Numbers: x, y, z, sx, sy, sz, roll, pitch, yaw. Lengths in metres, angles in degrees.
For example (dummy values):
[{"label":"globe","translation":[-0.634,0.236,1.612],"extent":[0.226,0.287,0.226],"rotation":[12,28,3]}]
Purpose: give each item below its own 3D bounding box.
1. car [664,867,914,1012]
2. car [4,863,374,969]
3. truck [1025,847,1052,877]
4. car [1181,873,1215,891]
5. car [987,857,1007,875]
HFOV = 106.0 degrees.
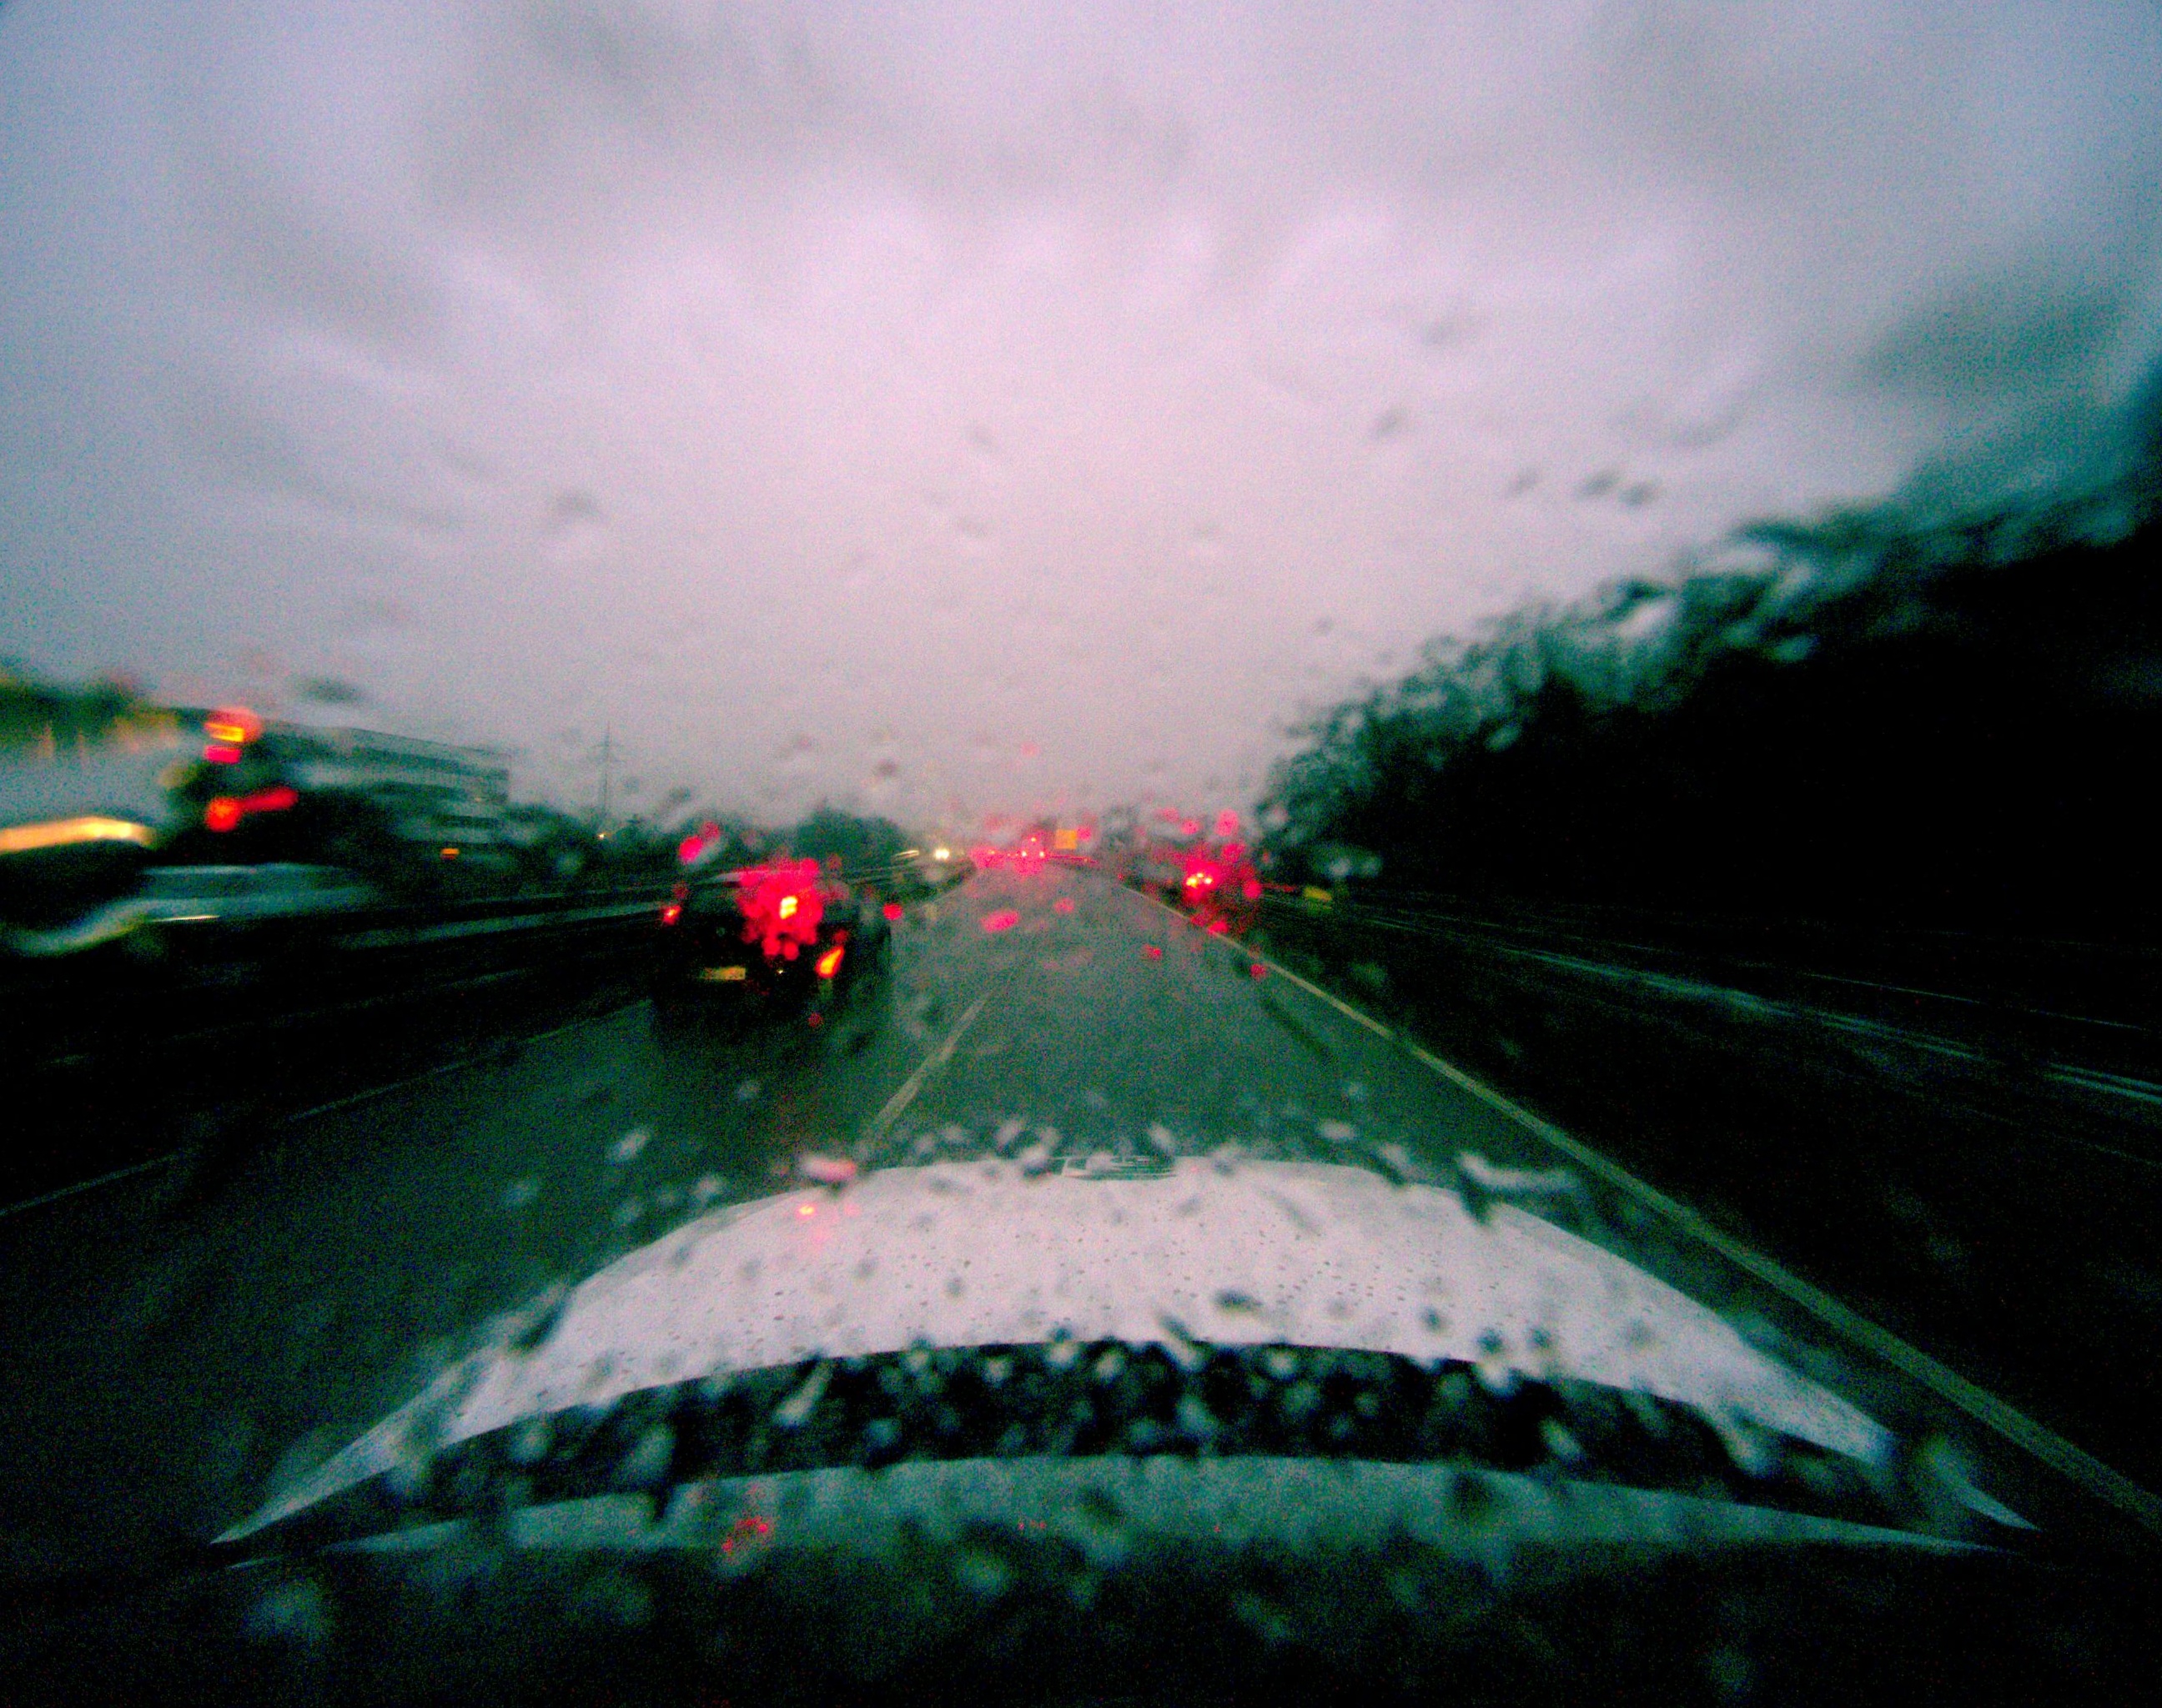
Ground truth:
[{"label":"car","translation":[-3.311,0.877,10.099],"extent":[1.620,1.392,4.000],"rotation":[0,0,0]},{"label":"car","translation":[-14.196,0.886,13.393],"extent":[1.667,1.420,4.078],"rotation":[-1,0,-2]},{"label":"truck","translation":[-4.449,0.884,84.687],"extent":[2.382,2.909,4.659],"rotation":[0,-3,-9]},{"label":"car","translation":[9.912,2.317,69.005],"extent":[1.675,1.282,3.988],"rotation":[6,-2,-8]},{"label":"car","translation":[-8.641,1.236,83.575],"extent":[1.834,1.538,3.986],"rotation":[1,-4,-9]}]
